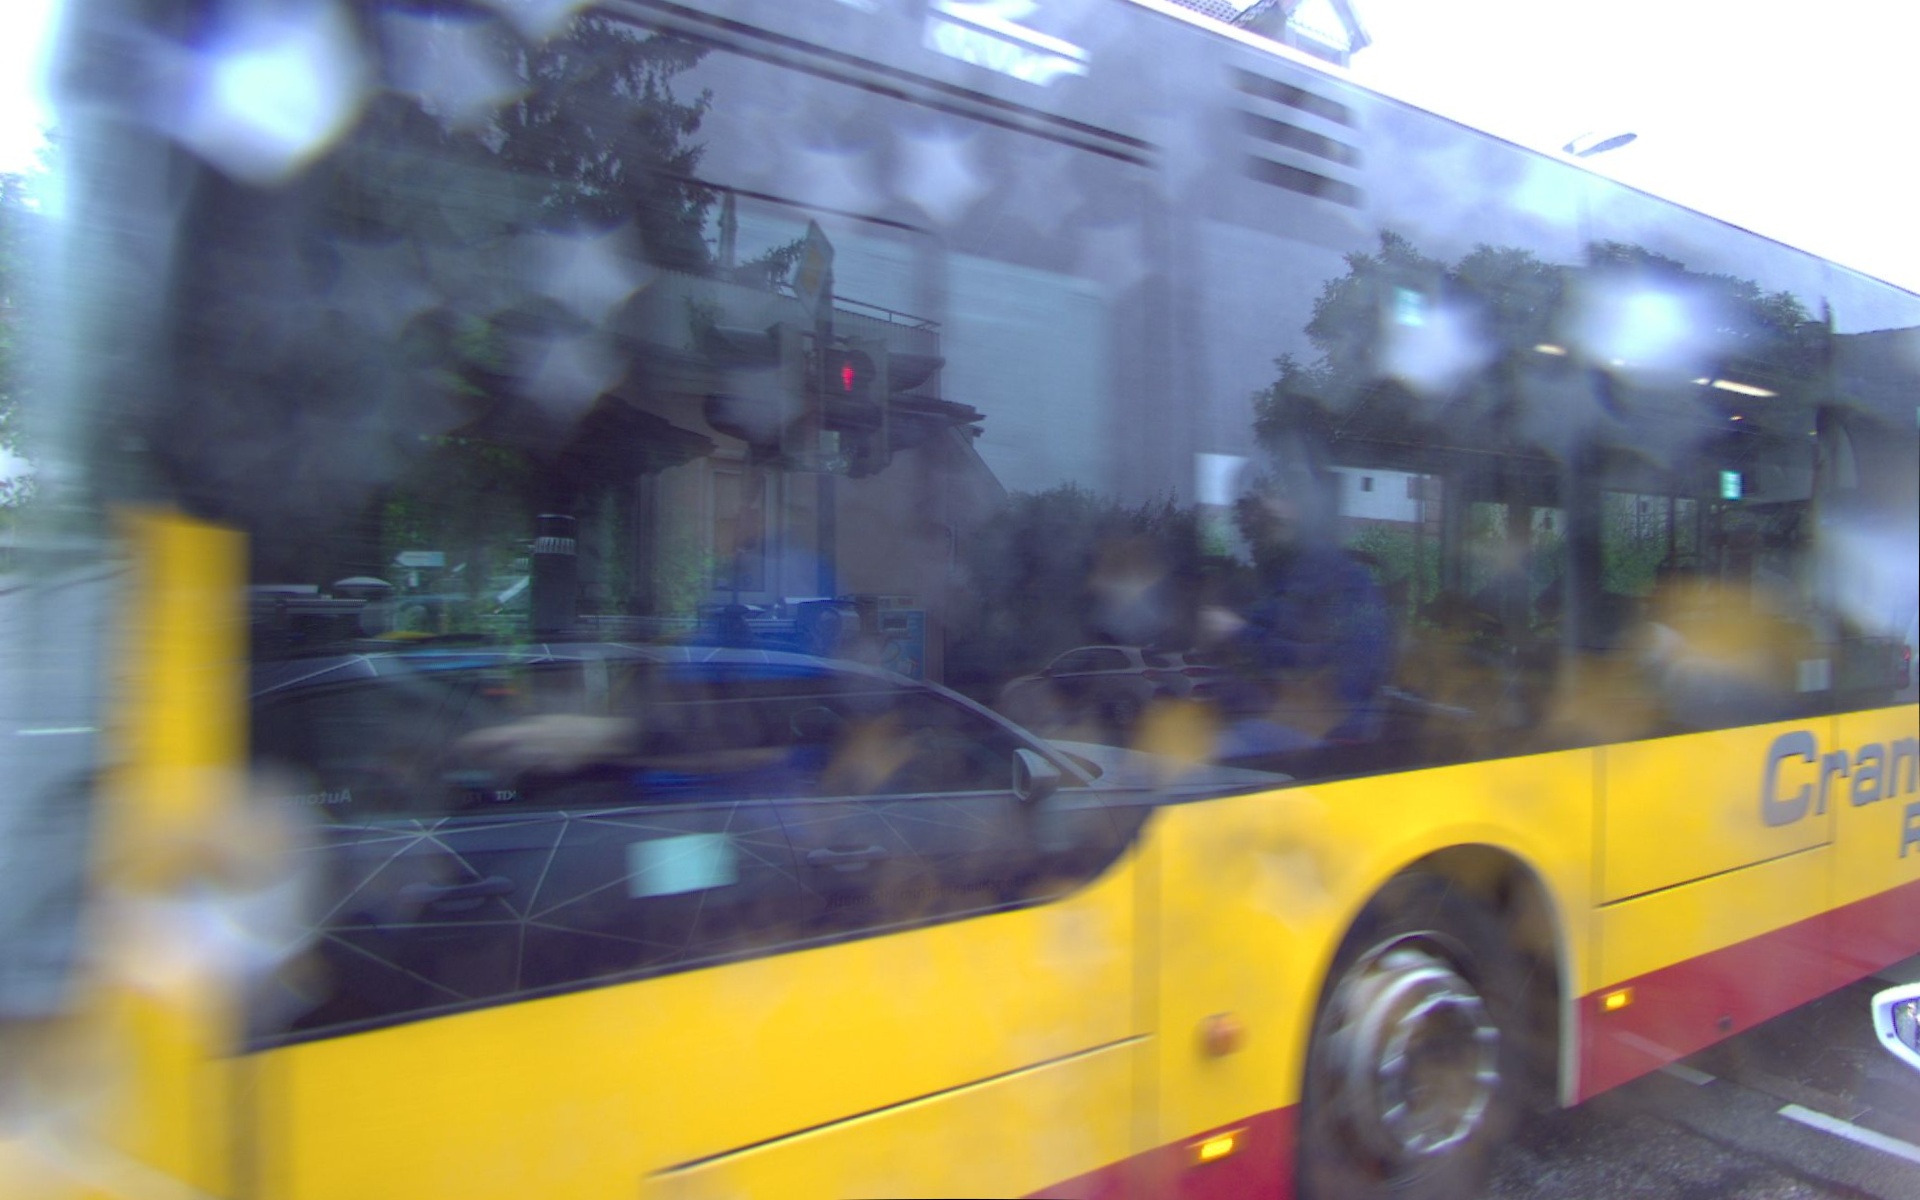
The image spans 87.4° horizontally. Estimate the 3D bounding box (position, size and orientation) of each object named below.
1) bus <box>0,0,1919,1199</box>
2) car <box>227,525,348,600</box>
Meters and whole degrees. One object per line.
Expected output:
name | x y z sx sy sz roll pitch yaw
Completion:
bus | 3.194 0.070 4.979 11.797 2.978 2.793 1 0 -30
car | -17.340 -1.026 26.100 1.973 1.528 3.974 2 6 -25
